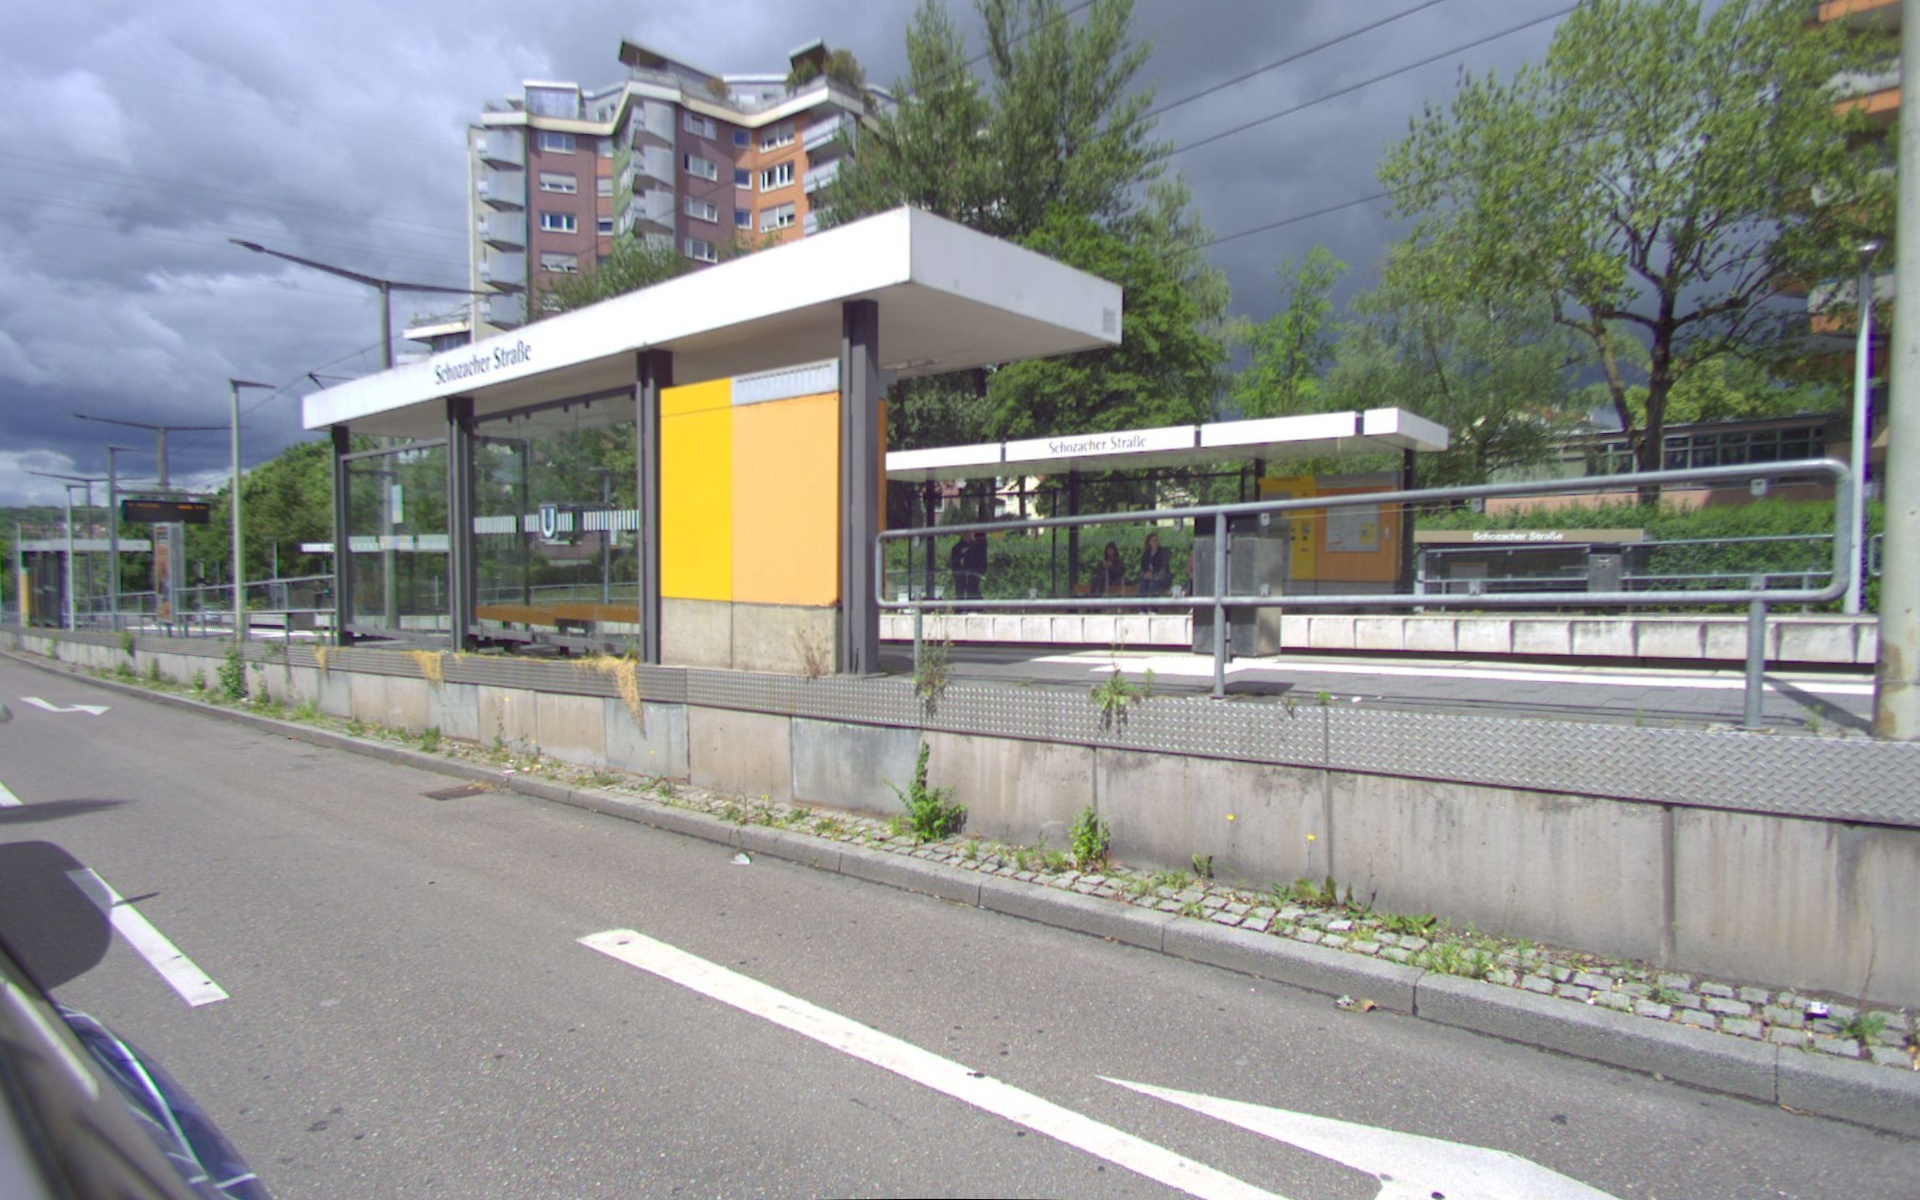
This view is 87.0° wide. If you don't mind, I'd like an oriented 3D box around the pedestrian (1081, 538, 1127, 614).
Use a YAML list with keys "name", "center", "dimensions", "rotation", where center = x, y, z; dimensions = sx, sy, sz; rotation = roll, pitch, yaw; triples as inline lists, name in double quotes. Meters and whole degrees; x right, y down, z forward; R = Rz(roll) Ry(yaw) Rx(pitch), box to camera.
- name: "pedestrian"
  center: [2.493, -0.400, 17.487]
  dimensions: [0.463, 1.287, 0.704]
  rotation: [-1, 0, 40]

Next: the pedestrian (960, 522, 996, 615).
- name: "pedestrian"
  center: [0.332, -0.582, 19.072]
  dimensions: [0.552, 1.726, 0.381]
  rotation: [-1, 0, 43]

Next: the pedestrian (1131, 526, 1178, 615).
- name: "pedestrian"
  center: [3.209, -0.480, 16.687]
  dimensions: [0.463, 1.428, 0.704]
  rotation: [-1, 0, 40]

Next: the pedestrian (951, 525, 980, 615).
- name: "pedestrian"
  center: [0.115, -0.579, 19.809]
  dimensions: [0.427, 1.726, 0.348]
  rotation: [-1, 0, 42]

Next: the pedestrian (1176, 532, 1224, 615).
- name: "pedestrian"
  center: [3.832, -0.417, 16.134]
  dimensions: [0.463, 1.287, 0.704]
  rotation: [-1, 0, 40]

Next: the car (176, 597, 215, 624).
- name: "car"
  center: [-60.454, 0.830, 80.000]
  dimensions: [4.000, 2.029, 1.714]
  rotation: [-1, 0, 43]
